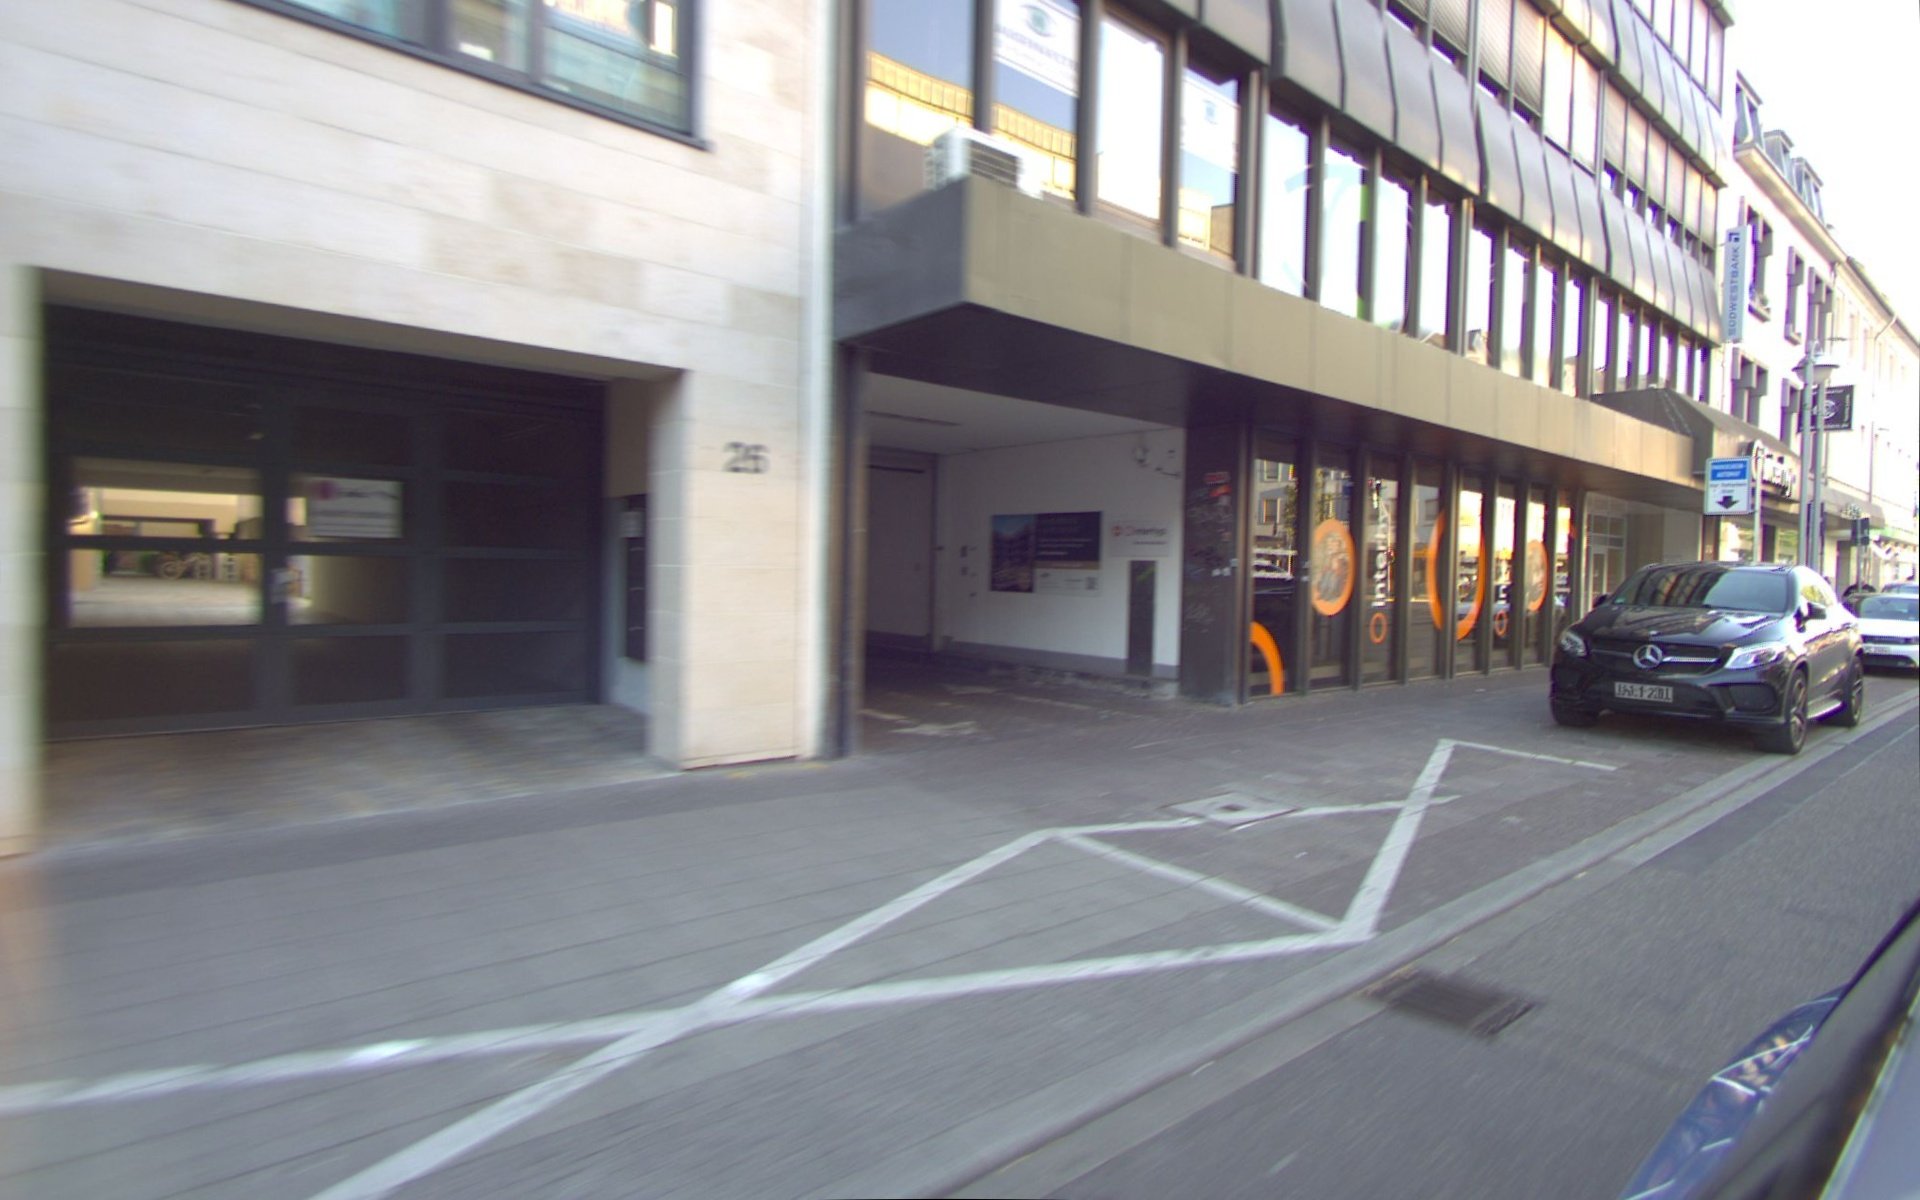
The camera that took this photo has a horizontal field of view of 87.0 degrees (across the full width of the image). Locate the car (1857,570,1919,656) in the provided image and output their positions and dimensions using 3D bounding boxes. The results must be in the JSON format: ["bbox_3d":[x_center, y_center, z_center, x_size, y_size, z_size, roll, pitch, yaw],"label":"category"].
[{"bbox_3d":[21.658,0.280,22.401,4.495,1.748,1.998,0,4,-40],"label":"car"}]

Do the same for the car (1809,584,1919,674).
[{"bbox_3d":[17.099,0.481,18.471,3.818,1.450,1.800,0,2,-40],"label":"car"}]

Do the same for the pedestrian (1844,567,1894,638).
[{"bbox_3d":[23.965,0.054,26.679,0.911,1.827,0.768,0,3,-39],"label":"pedestrian"}]

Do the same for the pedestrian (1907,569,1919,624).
[{"bbox_3d":[34.982,-0.126,36.768,0.864,1.951,0.662,0,3,-42],"label":"pedestrian"}]

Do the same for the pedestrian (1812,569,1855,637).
[{"bbox_3d":[23.195,0.066,26.877,0.666,1.739,0.651,0,4,-39],"label":"pedestrian"}]

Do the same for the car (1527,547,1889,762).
[{"bbox_3d":[7.885,0.394,10.506,4.484,1.748,1.998,0,3,-40],"label":"car"}]
